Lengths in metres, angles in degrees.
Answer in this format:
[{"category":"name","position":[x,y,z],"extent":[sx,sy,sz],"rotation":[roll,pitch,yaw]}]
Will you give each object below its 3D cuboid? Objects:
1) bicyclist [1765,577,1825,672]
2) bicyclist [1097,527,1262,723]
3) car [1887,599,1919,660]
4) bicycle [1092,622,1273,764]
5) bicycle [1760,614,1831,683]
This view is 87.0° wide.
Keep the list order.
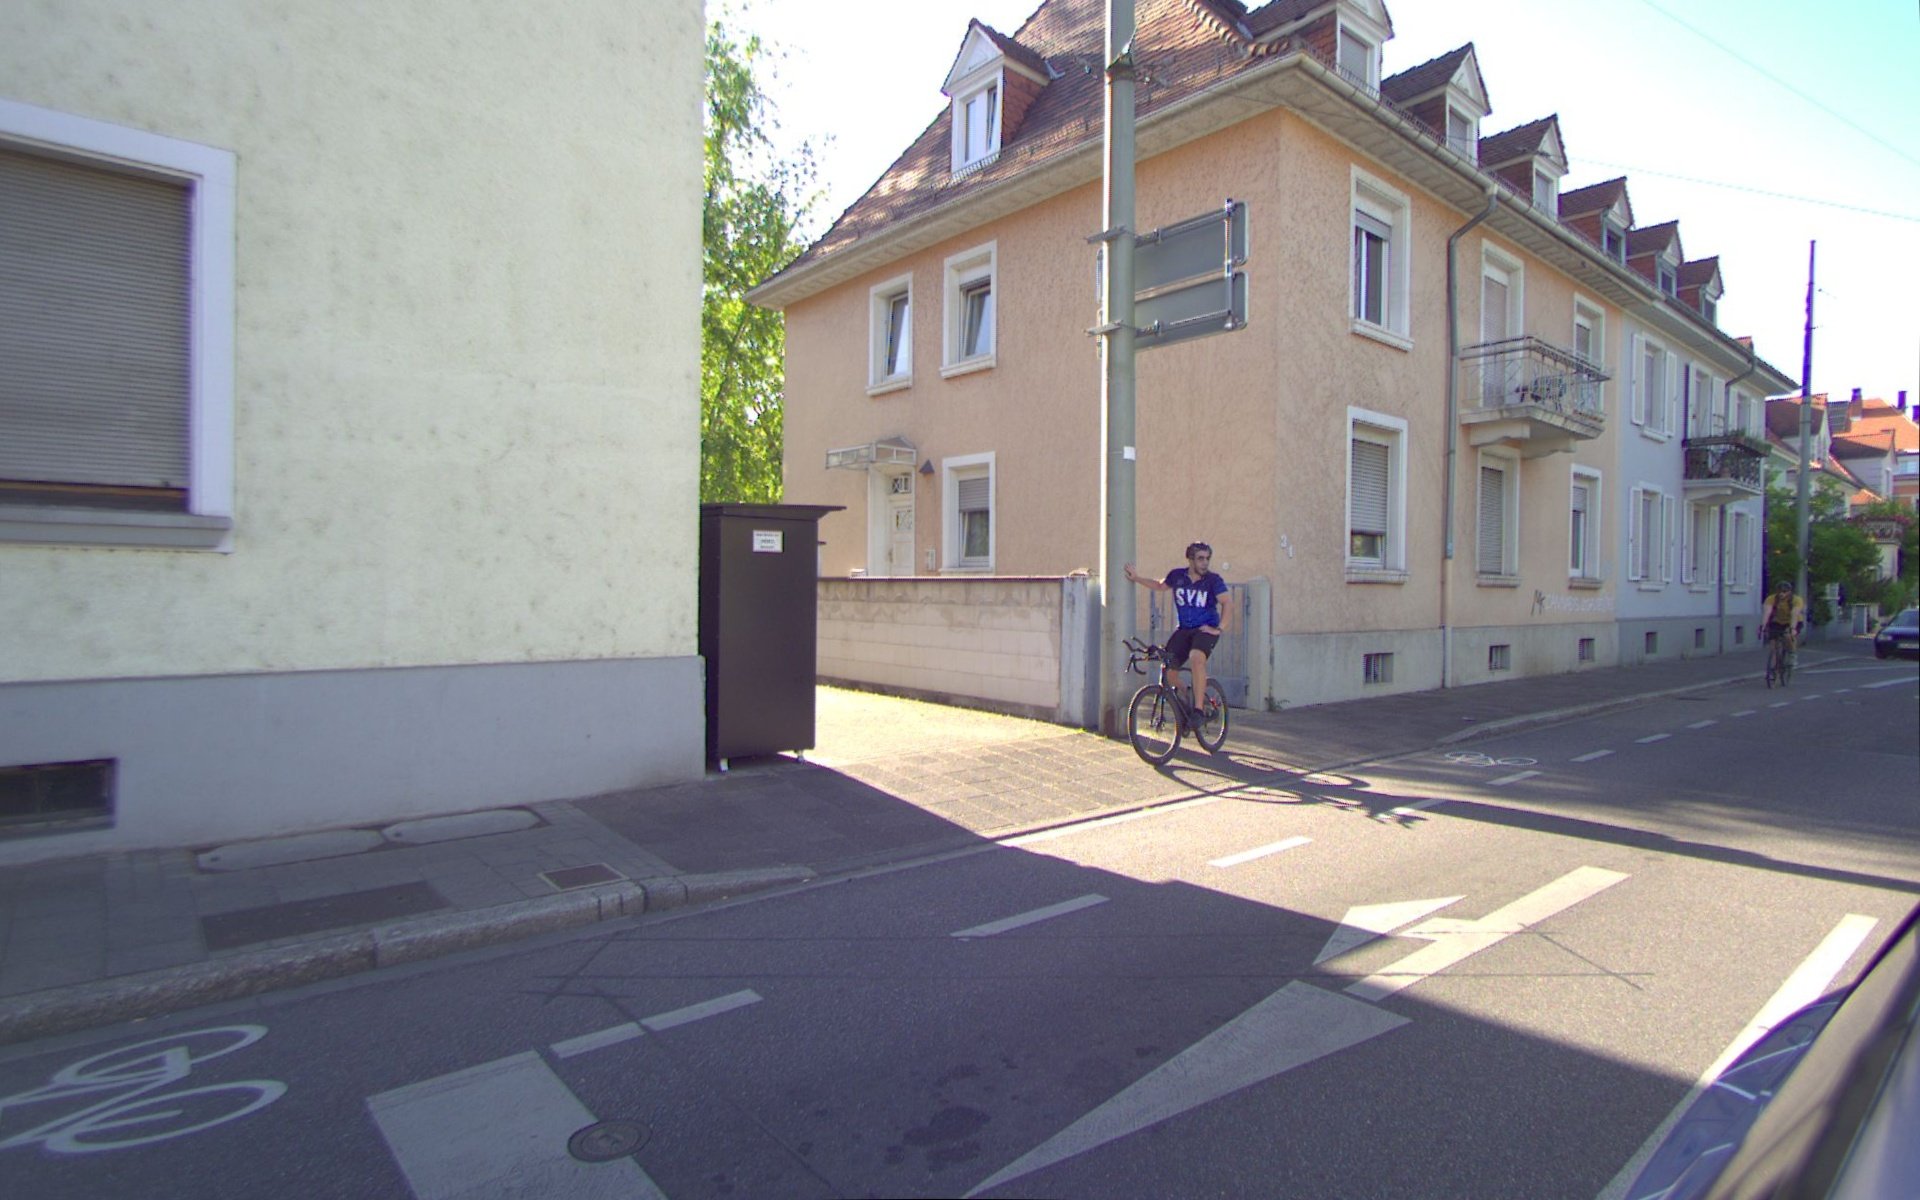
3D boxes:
[{"category":"bicyclist","position":[14.813,0.419,17.962],"extent":[0.841,1.641,0.685],"rotation":[0,0,-41]},{"category":"bicyclist","position":[2.004,0.190,9.294],"extent":[0.870,1.627,1.052],"rotation":[1,5,-41]},{"category":"car","position":[26.705,0.755,27.368],"extent":[3.742,1.601,1.696],"rotation":[0,-1,-36]},{"category":"bicycle","position":[2.023,0.777,9.076],"extent":[1.744,1.081,0.592],"rotation":[0,5,-41]},{"category":"bicycle","position":[14.878,0.837,18.012],"extent":[1.774,1.118,0.685],"rotation":[-1,0,-41]}]
